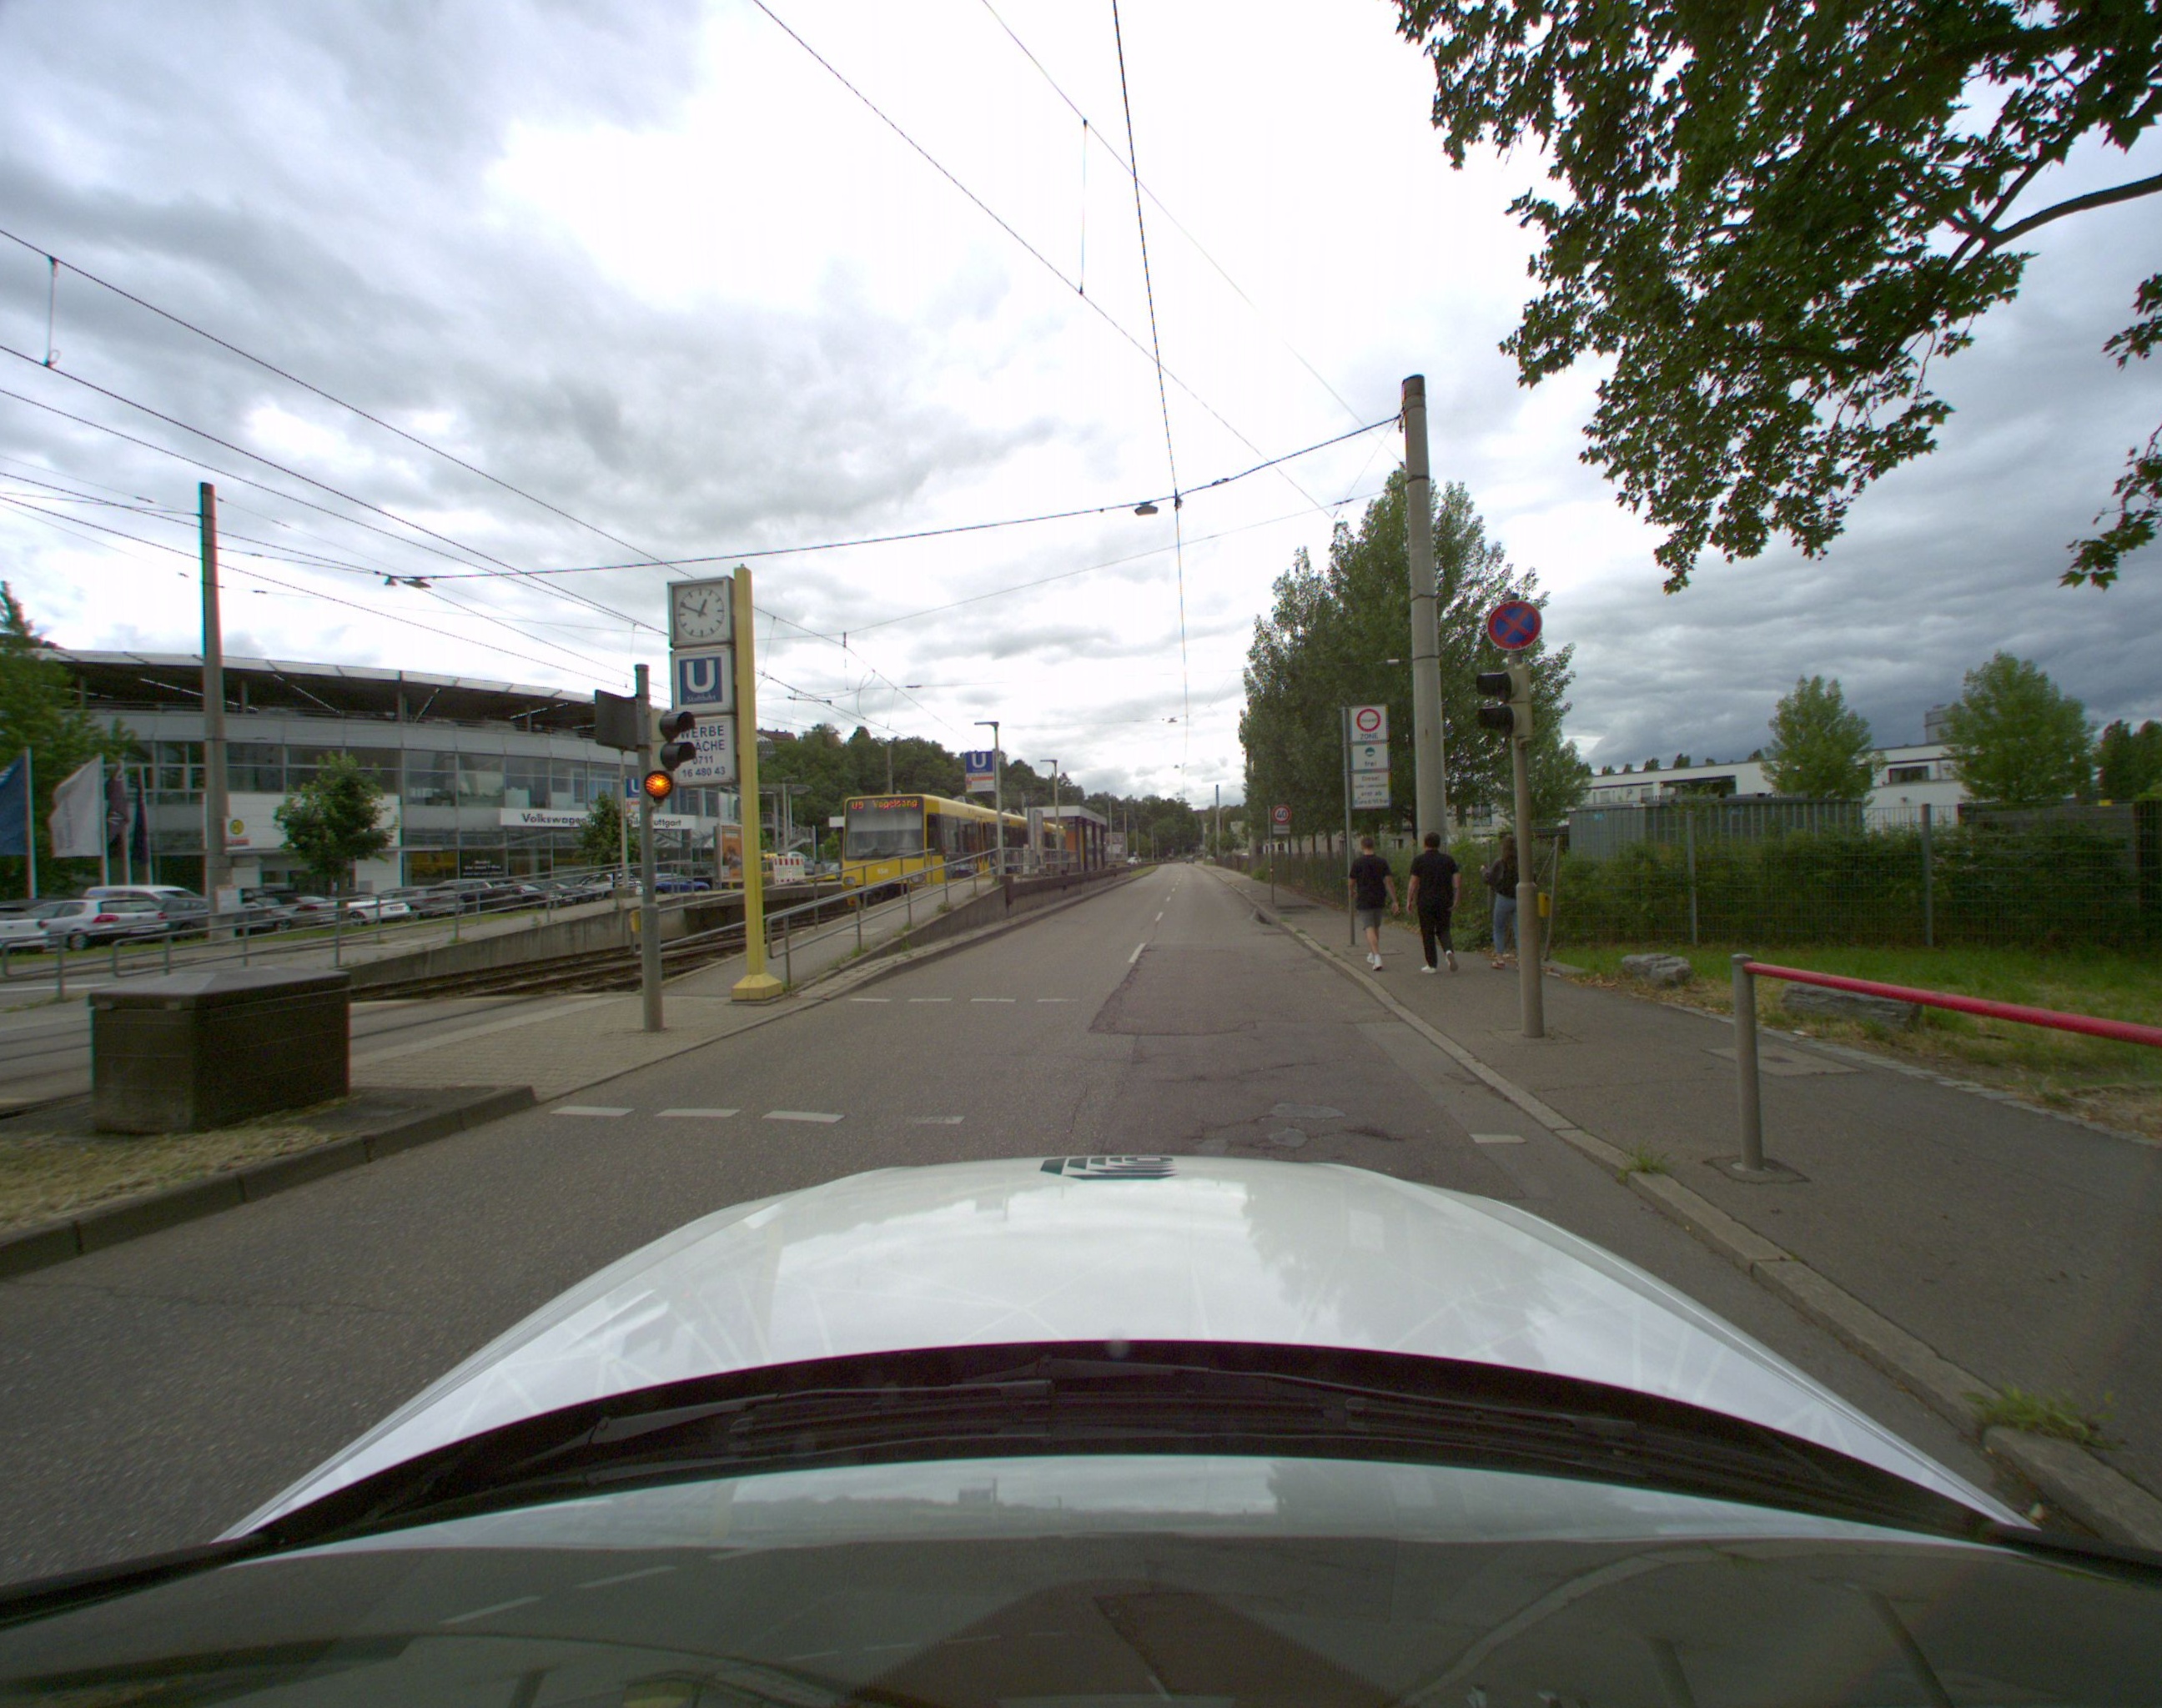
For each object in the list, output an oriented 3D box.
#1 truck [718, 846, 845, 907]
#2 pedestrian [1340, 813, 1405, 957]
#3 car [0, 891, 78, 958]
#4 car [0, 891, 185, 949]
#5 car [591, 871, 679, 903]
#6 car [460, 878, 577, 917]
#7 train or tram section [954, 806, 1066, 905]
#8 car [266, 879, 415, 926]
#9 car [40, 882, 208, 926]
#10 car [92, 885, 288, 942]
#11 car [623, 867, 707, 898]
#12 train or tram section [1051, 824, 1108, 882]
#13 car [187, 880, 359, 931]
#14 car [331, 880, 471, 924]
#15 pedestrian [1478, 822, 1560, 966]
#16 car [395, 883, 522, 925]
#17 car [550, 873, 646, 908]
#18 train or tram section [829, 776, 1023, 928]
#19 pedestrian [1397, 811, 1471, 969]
[{"bbox_3d":[-16.990,1.233,47.112,2.678,3.078,9.030,-3,-1,9],"label":"truck"},{"bbox_3d":[3.923,0.422,11.011,0.599,1.868,0.673,-3,-4,8],"label":"pedestrian"},{"bbox_3d":[-28.733,1.849,20.707,3.971,1.640,2.001,-2,-4,2],"label":"car"},{"bbox_3d":[-28.272,1.866,22.994,3.971,1.477,1.815,-2,-4,2],"label":"car"},{"bbox_3d":[-24.799,1.851,45.343,3.961,1.554,1.933,-3,-4,11],"label":"car"},{"bbox_3d":[-25.729,1.971,37.359,3.971,1.554,1.929,-2,1,2],"label":"car"},{"bbox_3d":[-3.066,0.012,39.690,2.726,3.966,11.937,-2,0,7],"label":"train or tram section"},{"bbox_3d":[-27.526,1.817,30.371,3.971,1.554,1.730,-2,-4,2],"label":"car"},{"bbox_3d":[-37.648,1.988,32.156,3.981,1.554,1.923,-2,-4,-6],"label":"car"},{"bbox_3d":[-27.641,1.843,25.363,3.971,1.554,1.928,-2,-4,2],"label":"car"},{"bbox_3d":[-24.137,1.685,47.319,3.961,1.554,1.933,-3,-4,11],"label":"car"},{"bbox_3d":[0.030,-0.101,63.453,2.955,4.065,10.218,-2,0,7],"label":"train or tram section"},{"bbox_3d":[-27.582,1.781,27.903,3.971,1.554,1.928,-2,-4,2],"label":"car"},{"bbox_3d":[-27.127,1.937,32.568,3.971,1.554,1.928,-2,-4,2],"label":"car"},{"bbox_3d":[5.350,0.496,9.991,0.599,1.690,0.673,-3,-4,8],"label":"pedestrian"},{"bbox_3d":[-26.696,2.131,35.024,3.971,1.554,1.929,-2,0,2],"label":"car"},{"bbox_3d":[-25.249,1.885,42.595,3.961,1.554,1.933,-3,0,11],"label":"car"},{"bbox_3d":[-4.613,-0.089,27.826,2.726,3.966,11.937,-2,0,7],"label":"train or tram section"},{"bbox_3d":[4.367,0.441,10.111,0.599,1.867,0.673,-3,-2,8],"label":"pedestrian"}]
